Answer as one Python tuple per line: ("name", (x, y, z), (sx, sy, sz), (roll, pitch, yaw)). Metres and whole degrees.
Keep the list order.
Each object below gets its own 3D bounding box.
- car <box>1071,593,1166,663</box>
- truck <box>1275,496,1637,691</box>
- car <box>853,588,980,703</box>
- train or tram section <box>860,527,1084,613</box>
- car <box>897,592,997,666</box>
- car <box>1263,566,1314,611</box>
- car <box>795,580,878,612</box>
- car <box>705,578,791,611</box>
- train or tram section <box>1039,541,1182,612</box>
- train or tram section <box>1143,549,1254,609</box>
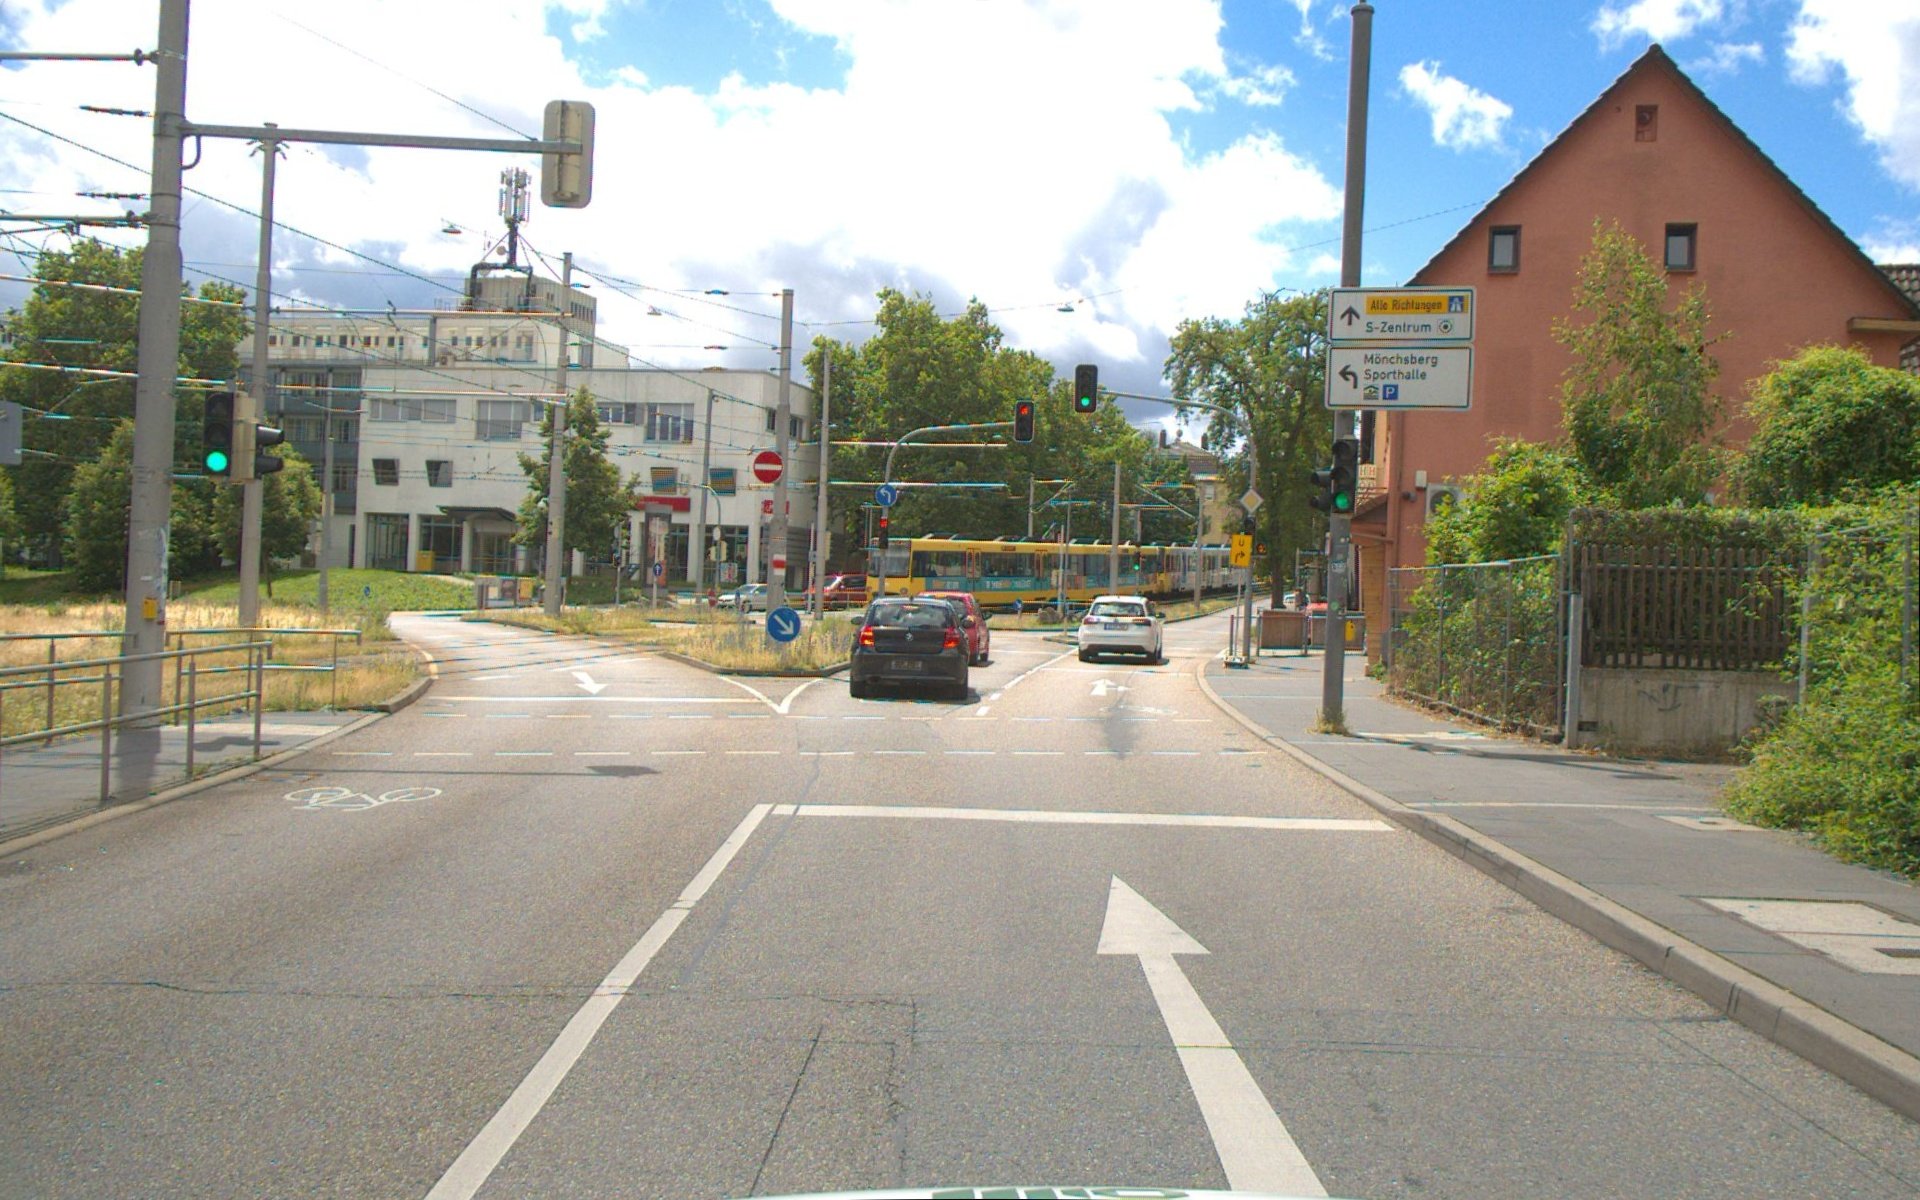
("car", (3.731, 0.640, 38.479), (1.848, 1.491, 4.072), (1, 0, 10))
("truck", (13.565, -0.138, 45.627), (8.825, 4.615, 3.210), (4, -1, -5))
("car", (-0.645, 0.609, 24.454), (1.691, 1.482, 3.808), (2, 1, -2))
("train or tram section", (1.122, -1.365, 83.461), (2.647, 3.816, 18.327), (3, 1, 29))
("car", (-0.224, 0.568, 34.977), (1.675, 1.417, 3.811), (2, 1, 5))
("car", (16.114, -0.573, 81.083), (1.952, 2.048, 4.003), (3, 2, 17))
("car", (-6.521, -0.206, 87.678), (1.964, 1.628, 4.176), (2, 1, 41))
("car", (-10.572, -0.255, 82.678), (1.964, 1.489, 3.976), (2, 0, 41))
("train or tram section", (9.398, -1.335, 99.688), (2.643, 3.816, 18.350), (3, 1, 24))
("train or tram section", (17.035, -1.395, 116.409), (2.643, 3.816, 18.350), (3, 1, 24))
